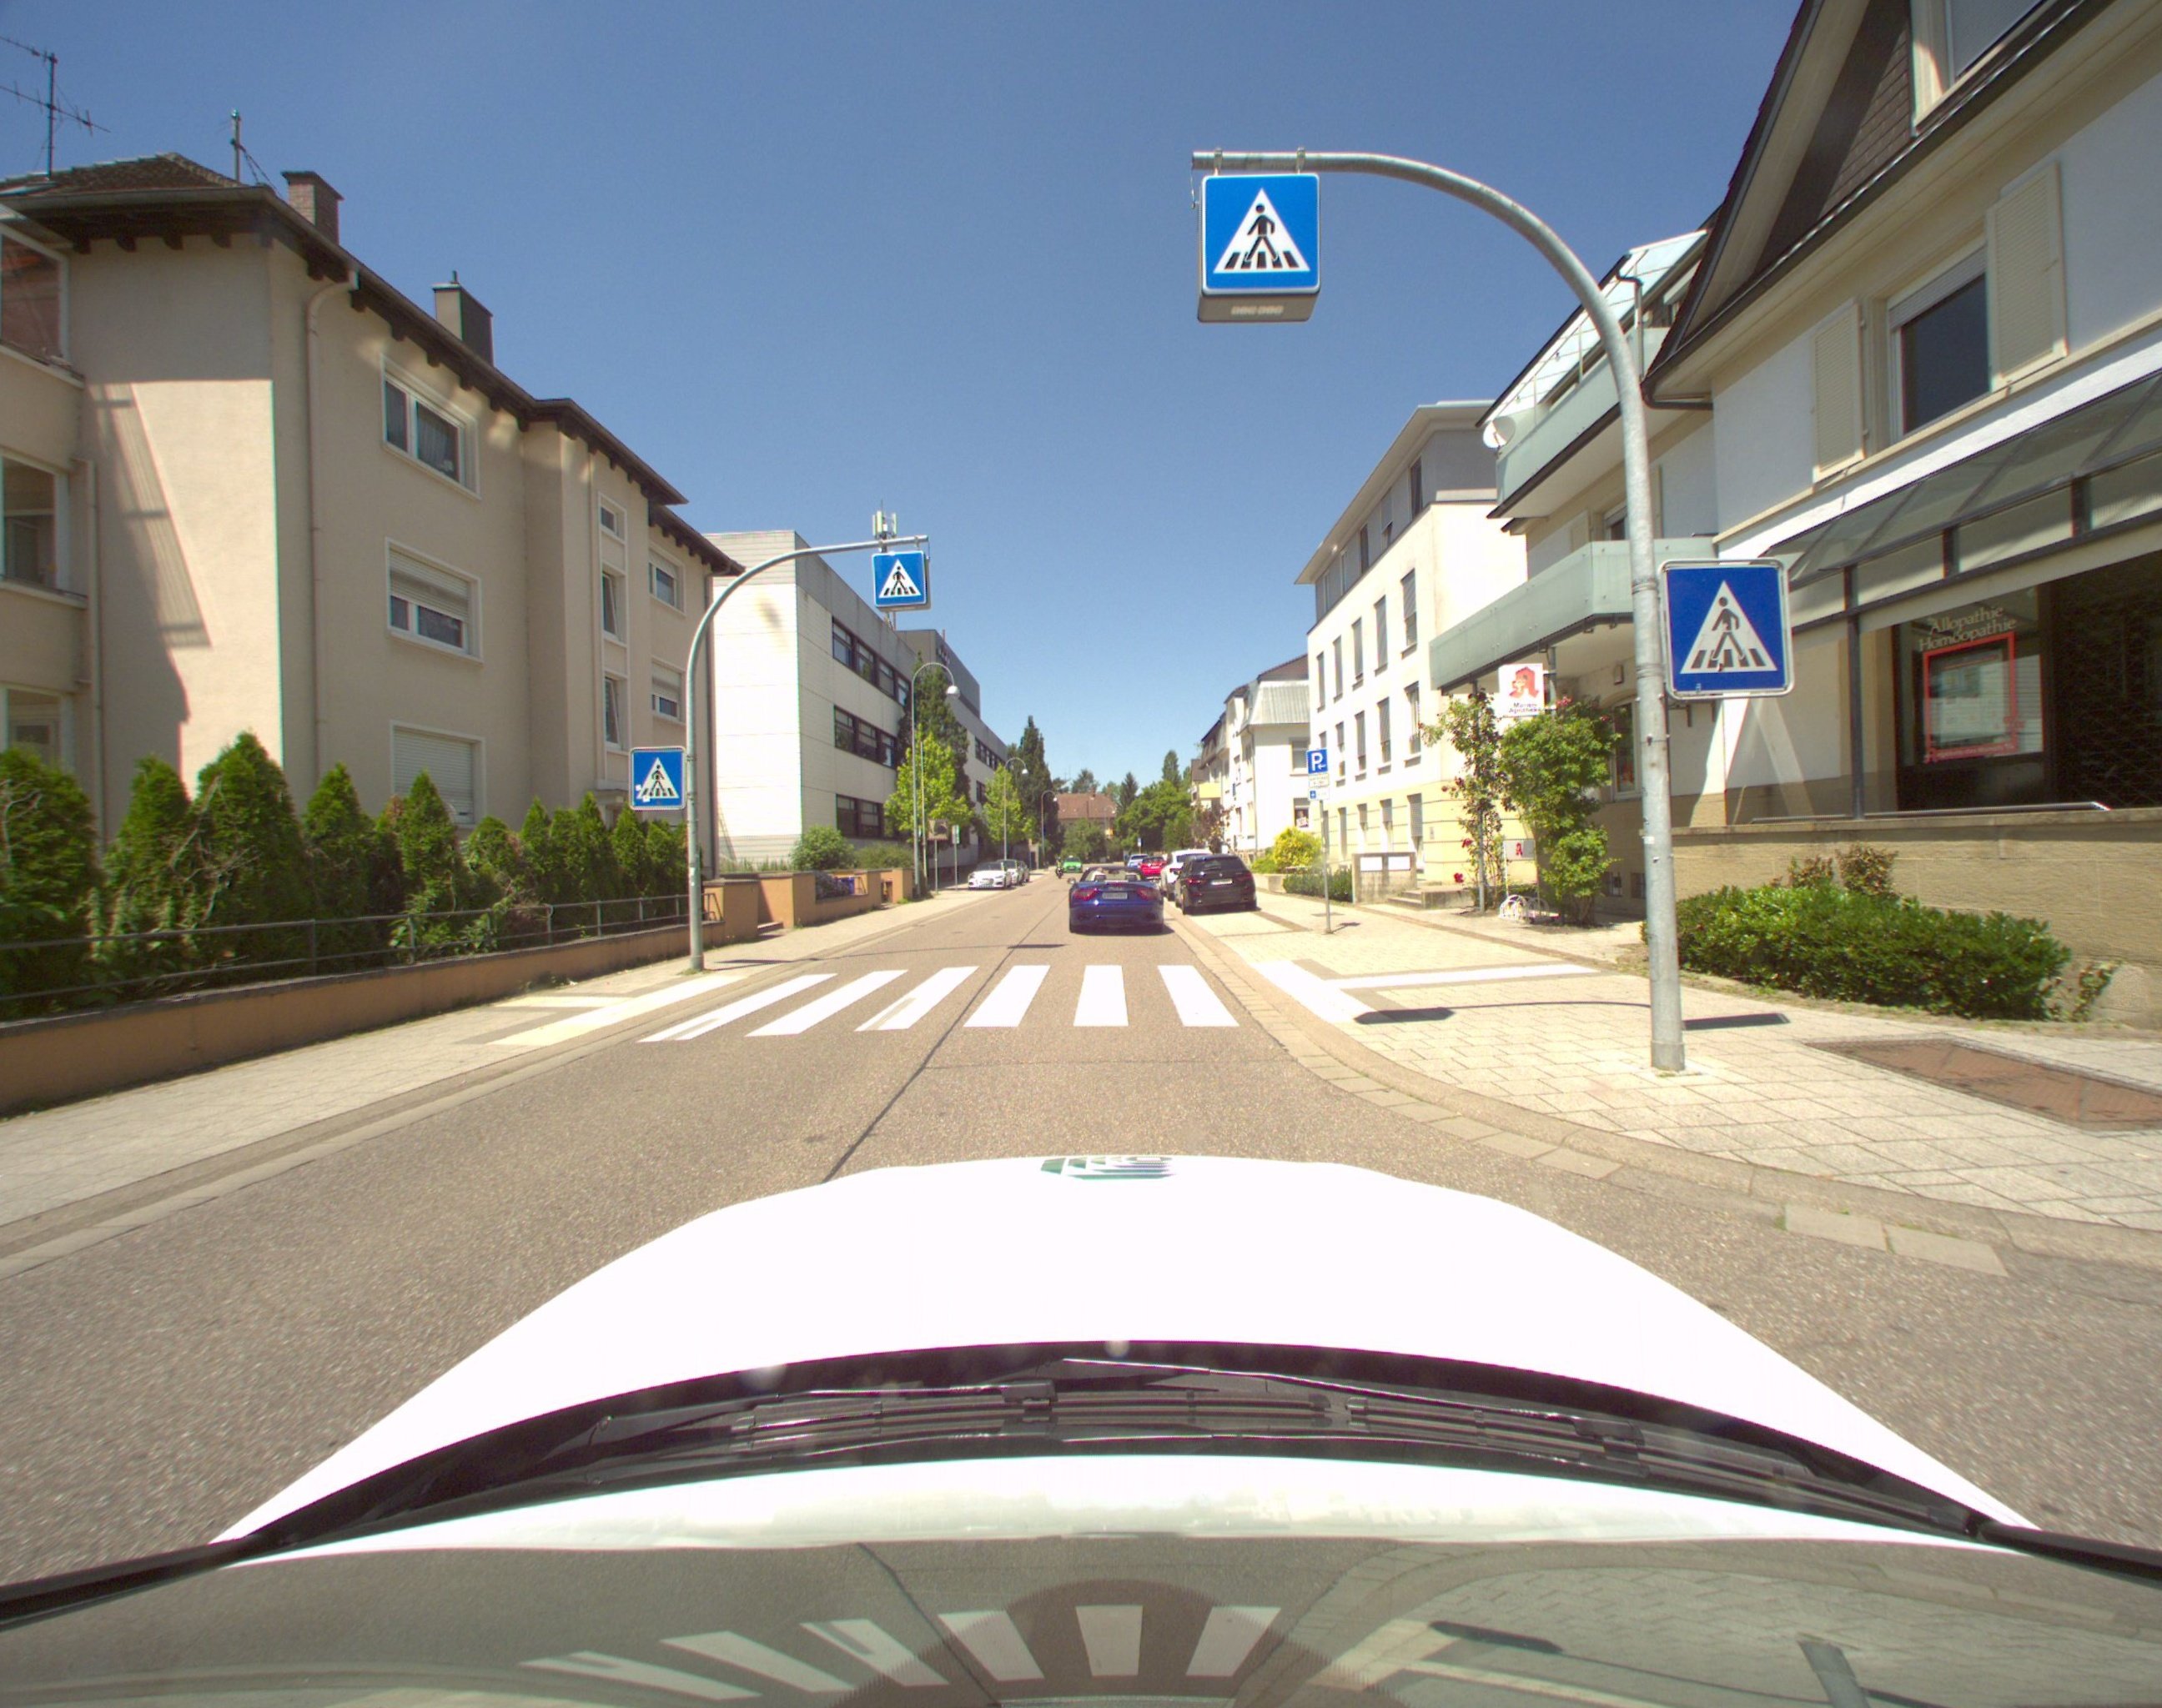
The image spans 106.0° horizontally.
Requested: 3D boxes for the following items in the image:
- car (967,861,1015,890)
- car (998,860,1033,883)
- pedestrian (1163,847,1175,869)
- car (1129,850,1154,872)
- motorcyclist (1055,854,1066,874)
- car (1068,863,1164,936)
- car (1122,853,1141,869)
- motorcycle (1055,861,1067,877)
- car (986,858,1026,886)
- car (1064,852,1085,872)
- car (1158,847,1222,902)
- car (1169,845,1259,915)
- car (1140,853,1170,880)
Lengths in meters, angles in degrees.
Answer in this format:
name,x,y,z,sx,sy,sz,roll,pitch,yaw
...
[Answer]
name,x,y,z,sx,sy,sz,roll,pitch,yaw
car,-4.591,1.061,42.284,1.815,1.411,4.579,0,0,2
car,-4.206,1.109,52.802,1.741,1.409,3.936,-1,0,3
pedestrian,6.897,0.307,63.588,0.738,1.669,0.706,-4,0,0
car,4.912,0.581,66.443,1.836,1.619,4.429,-4,0,2
motorcyclist,-1.499,0.739,59.339,0.696,1.433,0.707,-3,0,2
car,0.729,0.892,17.766,1.820,1.337,4.702,0,0,2
car,5.031,0.661,81.156,1.626,1.446,4.399,-4,0,2
motorcycle,-1.478,1.121,59.508,0.696,1.107,1.791,-3,0,2
car,-4.364,1.044,48.079,1.815,1.512,4.291,-1,0,2
car,-0.591,0.714,76.332,1.815,1.588,4.103,-2,3,1
car,3.668,0.655,28.161,1.698,1.666,4.582,-3,0,2
car,3.457,0.625,22.018,1.698,1.556,4.750,-5,0,2
car,4.480,0.724,49.677,1.597,1.440,3.856,-5,0,3
